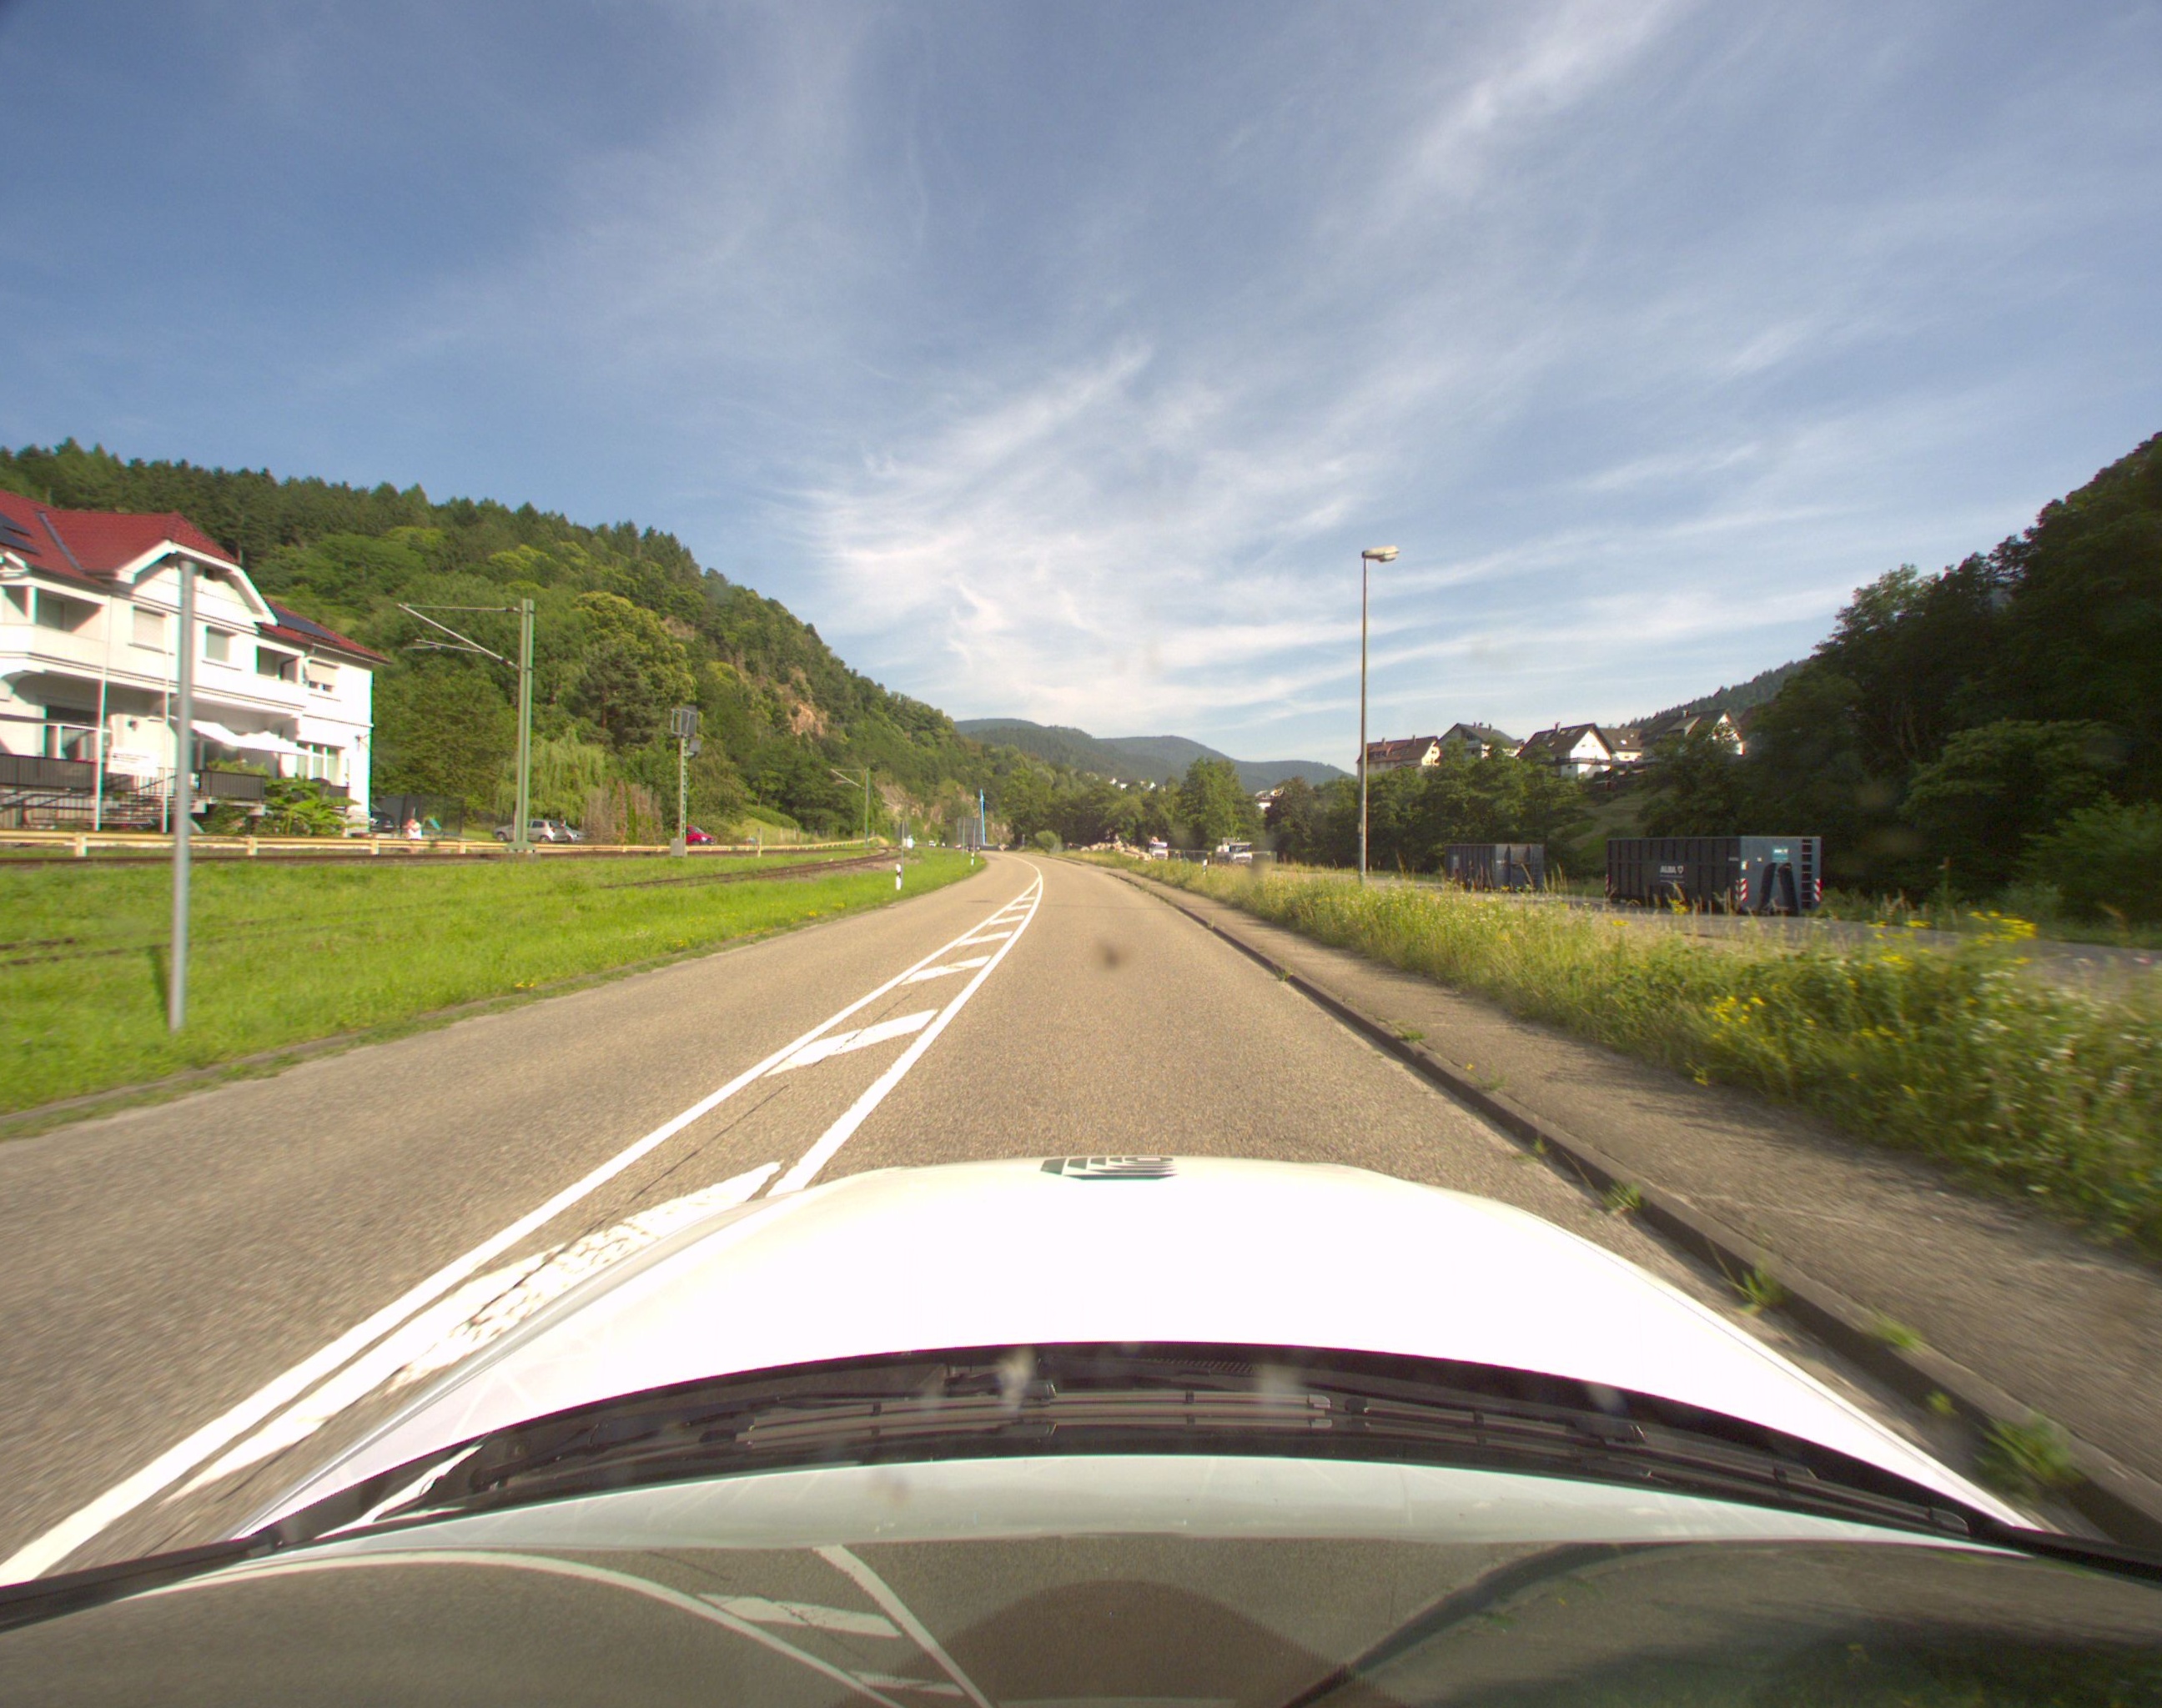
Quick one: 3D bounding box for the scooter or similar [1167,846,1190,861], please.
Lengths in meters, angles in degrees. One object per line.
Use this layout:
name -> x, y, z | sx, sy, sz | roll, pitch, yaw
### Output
scooter or similar -> 13.382, -0.063, 112.044 | 1.994, 2.013, 3.986 | 0, 1, -11

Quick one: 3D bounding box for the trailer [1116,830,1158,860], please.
trailer -> 8.238, -1.290, 121.615 | 3.369, 4.274, 9.863 | 2, 0, -13

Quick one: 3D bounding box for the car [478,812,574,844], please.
car -> -32.224, -1.503, 47.359 | 4.132, 1.691, 1.999 | 1, 0, -1

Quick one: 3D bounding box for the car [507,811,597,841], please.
car -> -32.222, -1.673, 49.672 | 4.132, 1.691, 1.999 | 1, 0, -1

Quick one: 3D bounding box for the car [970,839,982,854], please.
car -> -19.652, -1.405, 152.506 | 2.125, 2.615, 5.465 | -1, 1, -8

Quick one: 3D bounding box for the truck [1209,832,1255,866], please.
truck -> 17.653, -0.636, 95.804 | 3.098, 3.781, 8.630 | 2, 1, -5

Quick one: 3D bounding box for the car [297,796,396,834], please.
car -> -41.964, -2.212, 46.595 | 3.971, 1.790, 1.821 | 4, 0, 2

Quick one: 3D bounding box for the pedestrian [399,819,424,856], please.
pedestrian -> -29.716, -0.728, 36.160 | 0.677, 1.616, 0.605 | 1, 0, -19

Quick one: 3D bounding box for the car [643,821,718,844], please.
car -> -32.967, -1.762, 67.178 | 4.945, 1.691, 2.457 | 1, 0, 2

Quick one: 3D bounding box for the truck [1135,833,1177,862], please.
truck -> 10.265, -0.955, 112.628 | 3.107, 3.781, 8.605 | 2, 1, -14
